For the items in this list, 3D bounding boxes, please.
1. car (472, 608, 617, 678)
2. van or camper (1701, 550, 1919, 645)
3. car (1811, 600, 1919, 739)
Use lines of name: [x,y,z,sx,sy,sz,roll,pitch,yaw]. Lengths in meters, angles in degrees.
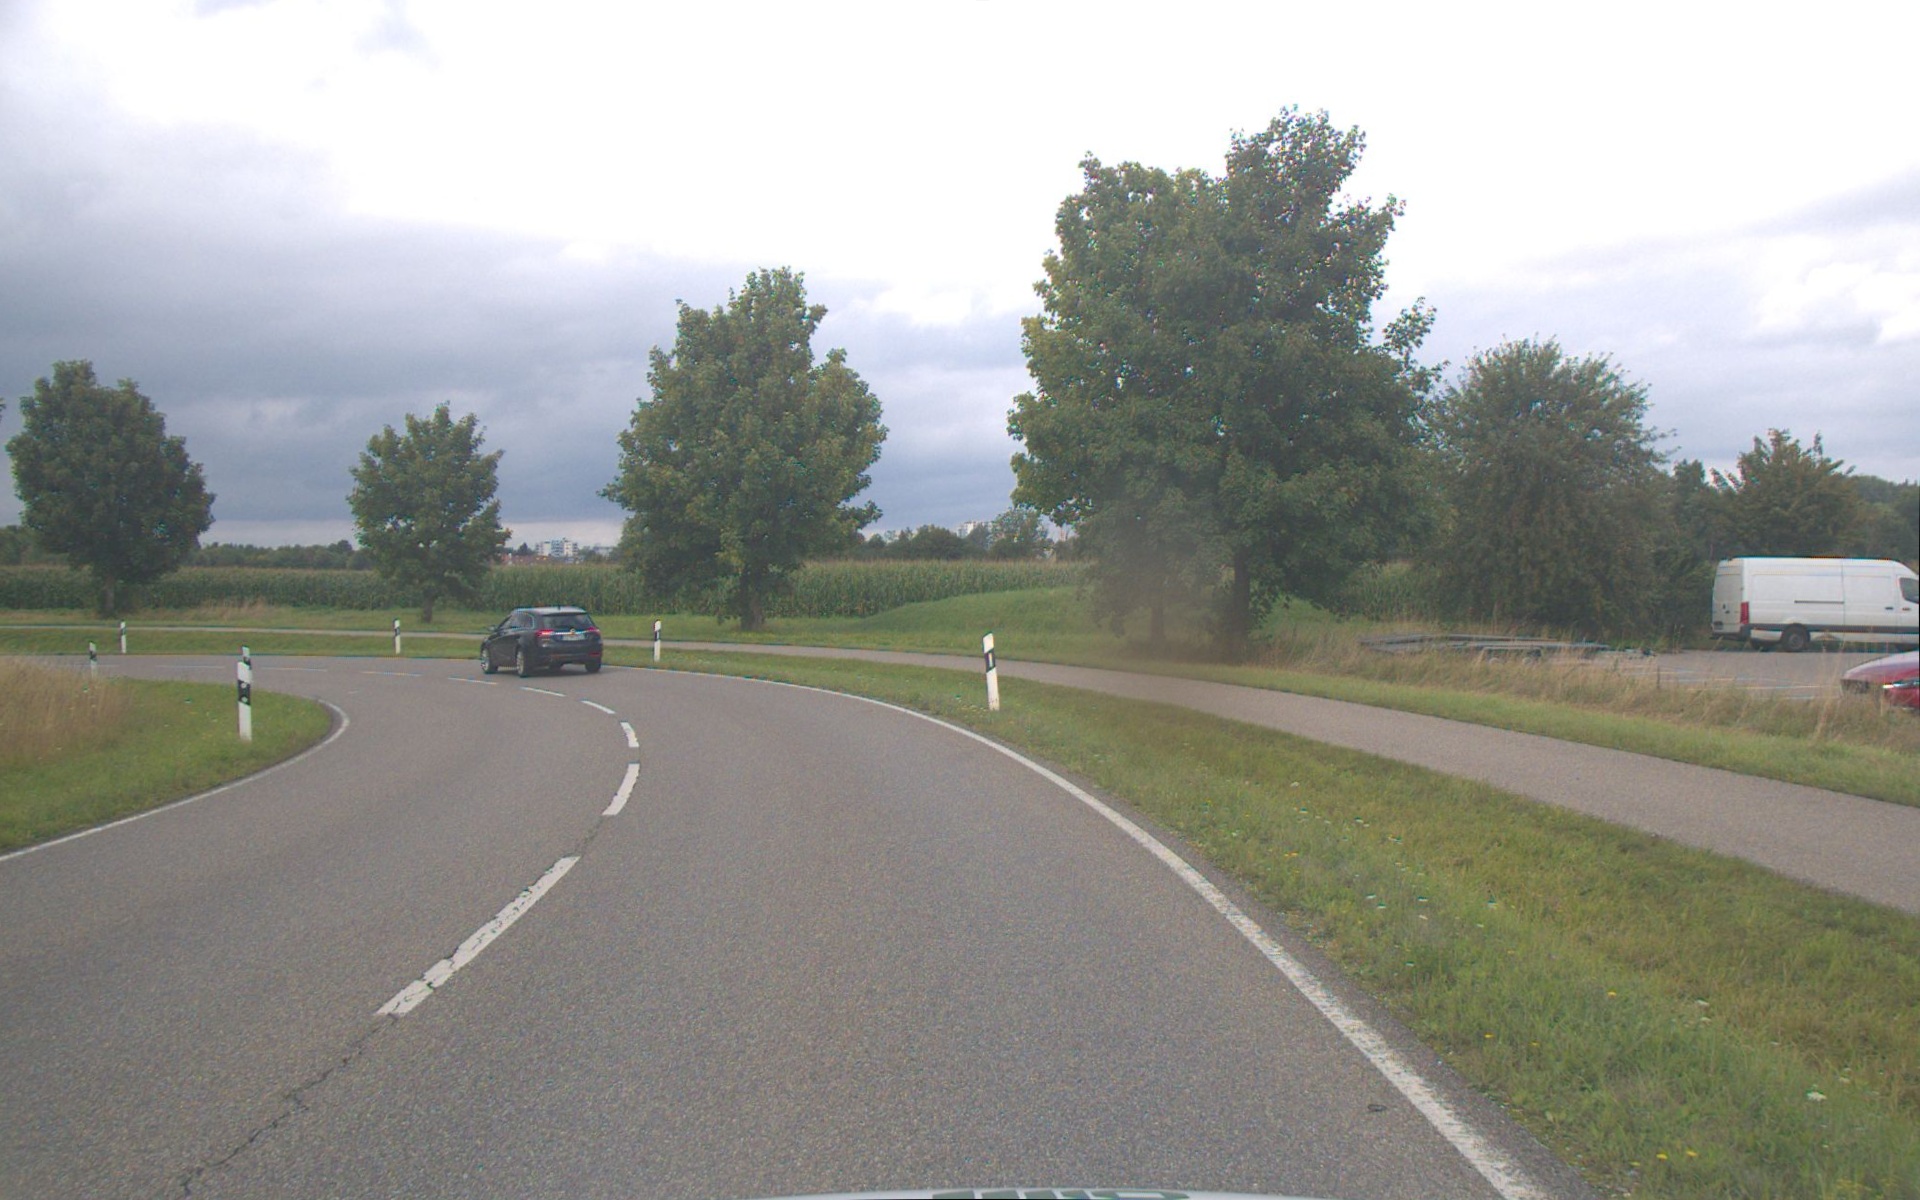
car: [-9.442,0.924,37.419,1.827,1.442,3.948,0,0,-37]
van or camper: [24.857,-0.068,47.059,6.604,2.606,2.049,0,0,0]
car: [13.269,0.798,20.699,4.244,1.603,1.970,-1,0,-4]
